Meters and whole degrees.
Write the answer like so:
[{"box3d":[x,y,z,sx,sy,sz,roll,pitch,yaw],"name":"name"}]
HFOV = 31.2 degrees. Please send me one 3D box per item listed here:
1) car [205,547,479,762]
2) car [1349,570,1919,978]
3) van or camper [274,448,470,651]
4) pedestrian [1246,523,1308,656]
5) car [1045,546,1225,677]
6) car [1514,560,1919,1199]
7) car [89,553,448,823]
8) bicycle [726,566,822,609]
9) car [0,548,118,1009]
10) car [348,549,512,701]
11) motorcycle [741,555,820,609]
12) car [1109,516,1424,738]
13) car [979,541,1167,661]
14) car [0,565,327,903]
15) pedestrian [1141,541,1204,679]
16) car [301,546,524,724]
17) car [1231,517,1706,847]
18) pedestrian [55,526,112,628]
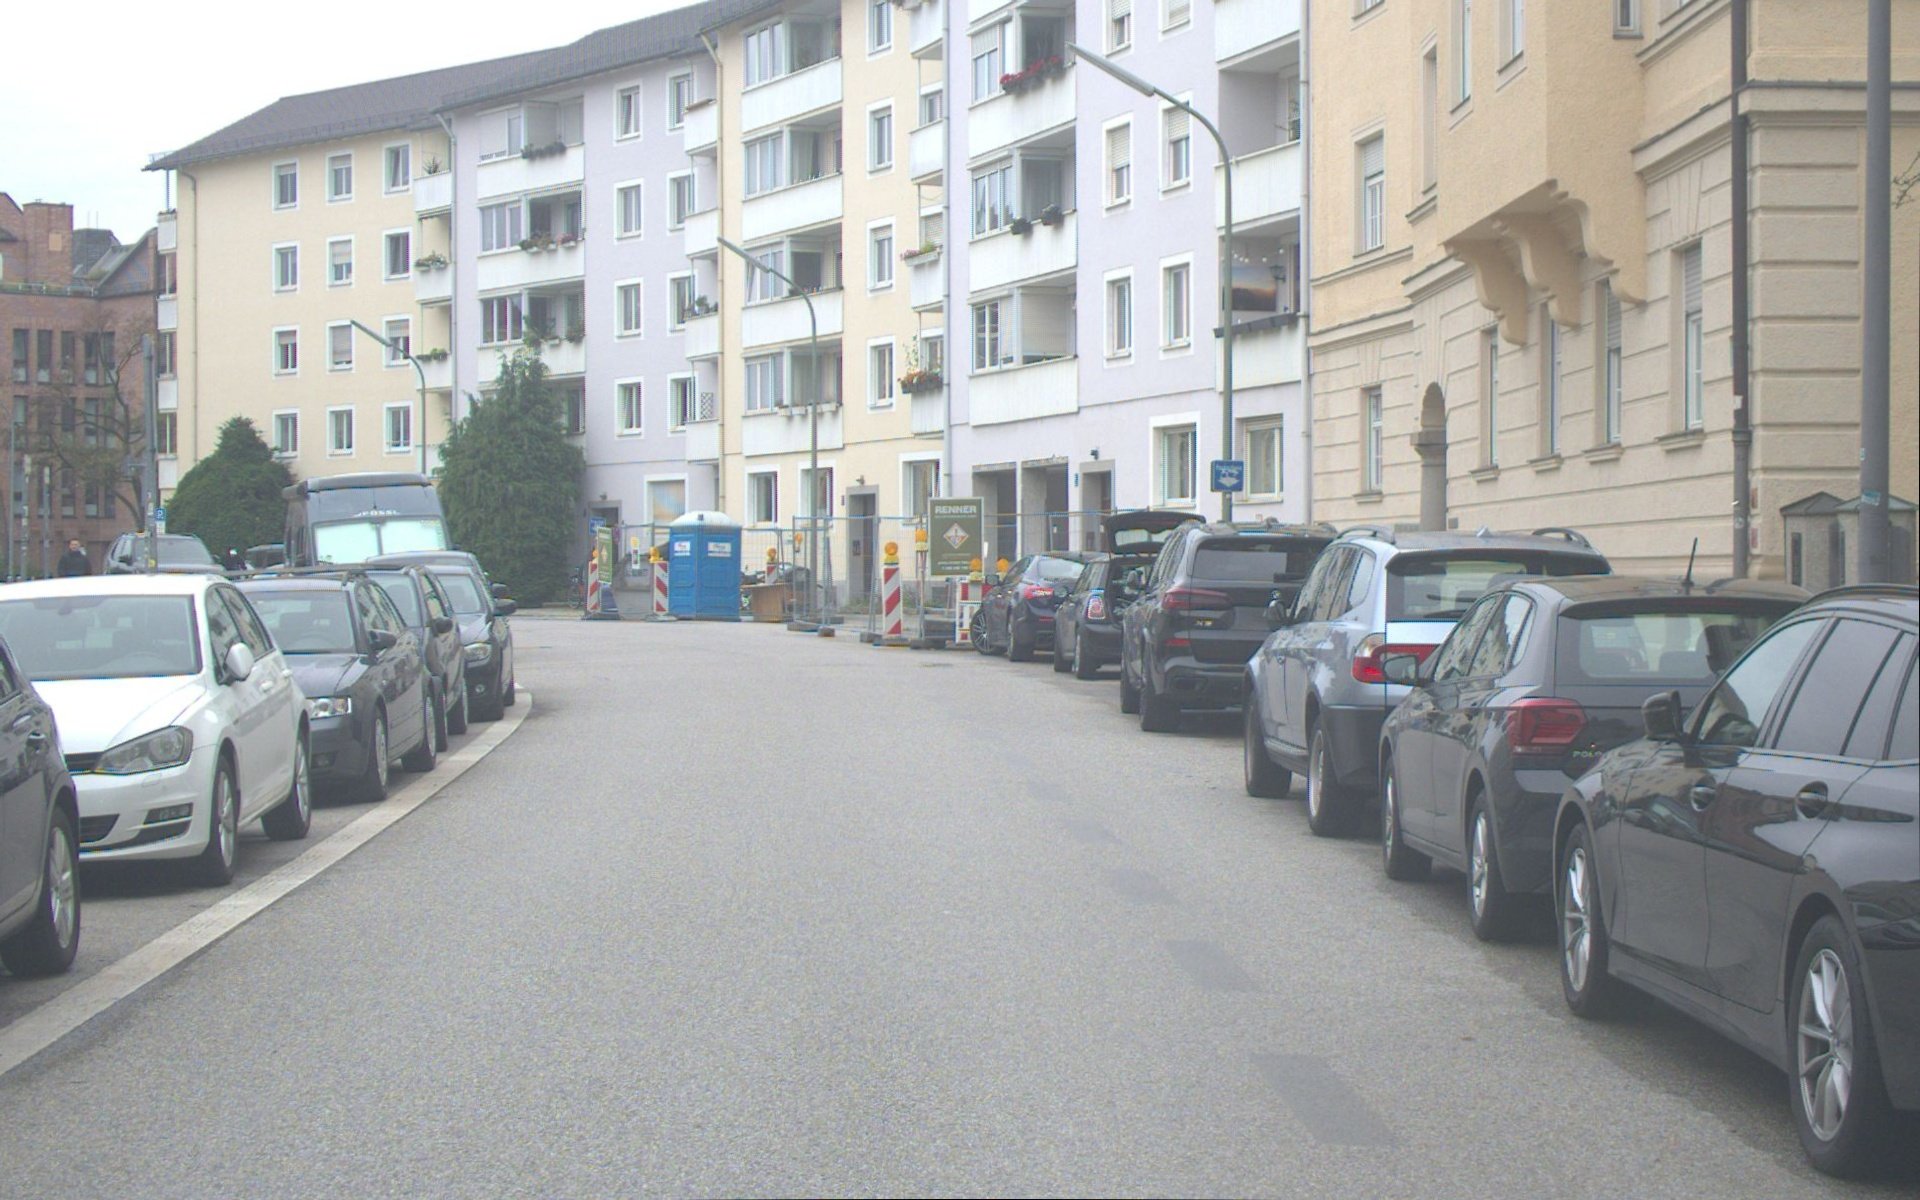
[{"box3d":[-4.765,0.371,26.937,1.630,1.489,3.604,-2,1,-3],"name":"car"},{"box3d":[2.874,0.633,14.854,1.827,1.445,4.084,1,1,-1],"name":"car"},{"box3d":[-8.157,-0.723,47.234,2.296,2.572,6.088,1,1,-13],"name":"van or camper"},{"box3d":[4.135,-0.141,44.877,0.617,1.684,0.919,-3,1,-1],"name":"pedestrian"},{"box3d":[1.997,0.102,40.129,1.630,1.412,3.680,1,1,-4],"name":"car"},{"box3d":[2.946,0.650,9.646,1.875,1.445,4.678,1,1,-2],"name":"car"},{"box3d":[-4.360,0.483,22.236,1.630,1.489,4.276,-2,1,-3],"name":"car"},{"box3d":[-4.686,-0.325,86.703,2.232,1.066,0.920,0,1,-25],"name":"bicycle"},{"box3d":[-3.924,0.578,11.058,1.630,1.489,4.101,0,1,-3],"name":"car"},{"box3d":[-5.522,0.231,36.065,1.518,1.460,2.887,-2,1,-6],"name":"car"},{"box3d":[-4.116,-0.415,78.687,0.931,1.217,2.508,0,1,-25],"name":"motorcycle"},{"box3d":[2.551,0.161,29.923,2.170,1.733,5.024,1,1,-1],"name":"car"},{"box3d":[1.461,-0.026,46.389,1.908,1.472,4.947,1,1,-5],"name":"car"},{"box3d":[-4.271,0.564,16.978,1.740,1.417,4.295,-1,1,-4],"name":"car"},{"box3d":[2.368,0.105,38.372,0.628,1.523,0.578,1,1,-2],"name":"pedestrian"},{"box3d":[-5.050,0.269,32.186,1.773,1.460,4.467,-2,1,-6],"name":"car"},{"box3d":[2.755,0.378,19.661,1.846,1.658,4.499,1,1,-3],"name":"car"},{"box3d":[-16.021,-0.420,62.810,0.842,1.860,0.714,0,1,-29],"name":"pedestrian"}]
